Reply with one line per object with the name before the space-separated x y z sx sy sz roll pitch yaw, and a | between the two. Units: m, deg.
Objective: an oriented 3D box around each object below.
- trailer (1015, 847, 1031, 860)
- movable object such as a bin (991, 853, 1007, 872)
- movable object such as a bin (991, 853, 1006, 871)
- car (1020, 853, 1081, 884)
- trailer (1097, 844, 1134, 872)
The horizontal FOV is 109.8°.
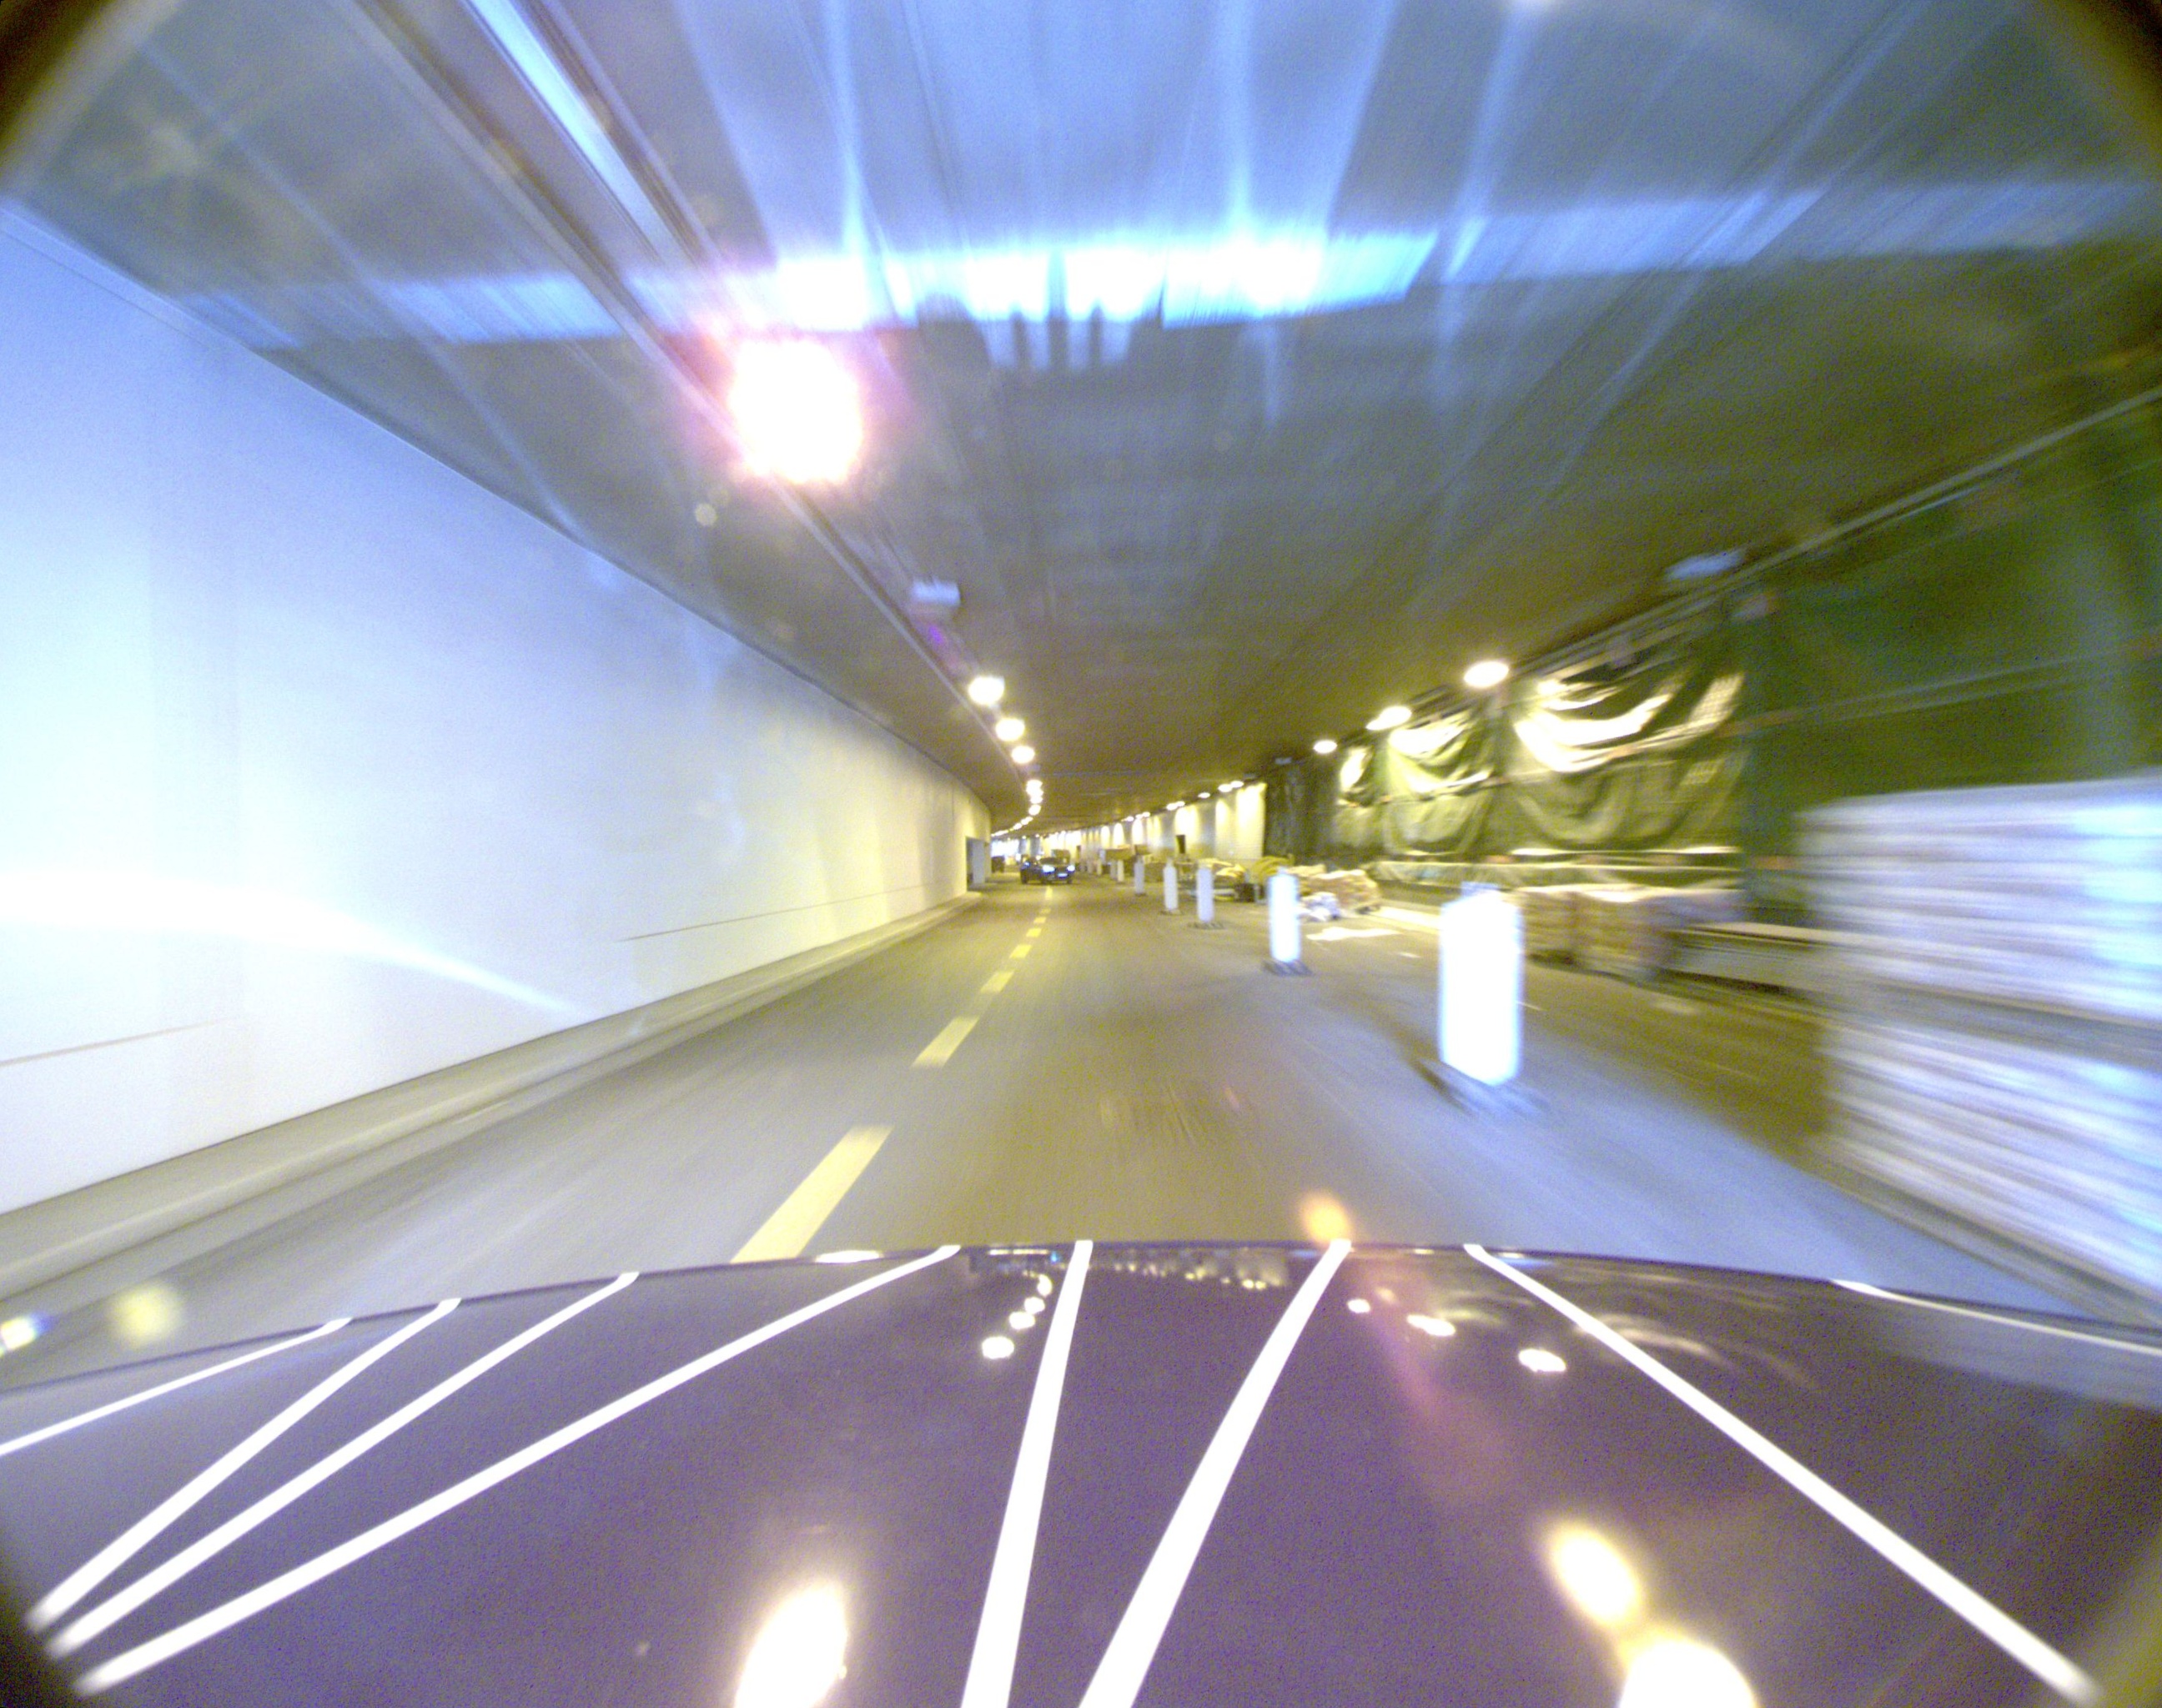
trailer | -8.391 -0.140 110.397 1.646 1.781 3.117 -2 1 -17
movable object such as a bin | -6.736 0.679 62.268 1.149 1.437 1.362 -2 1 -9
movable object such as a bin | -6.930 0.660 63.638 1.101 1.437 1.321 -2 1 -9
car | -1.741 0.737 41.911 1.900 1.537 4.231 -2 1 -25
trailer | 2.664 0.287 59.579 2.215 2.002 3.462 -2 1 -10
